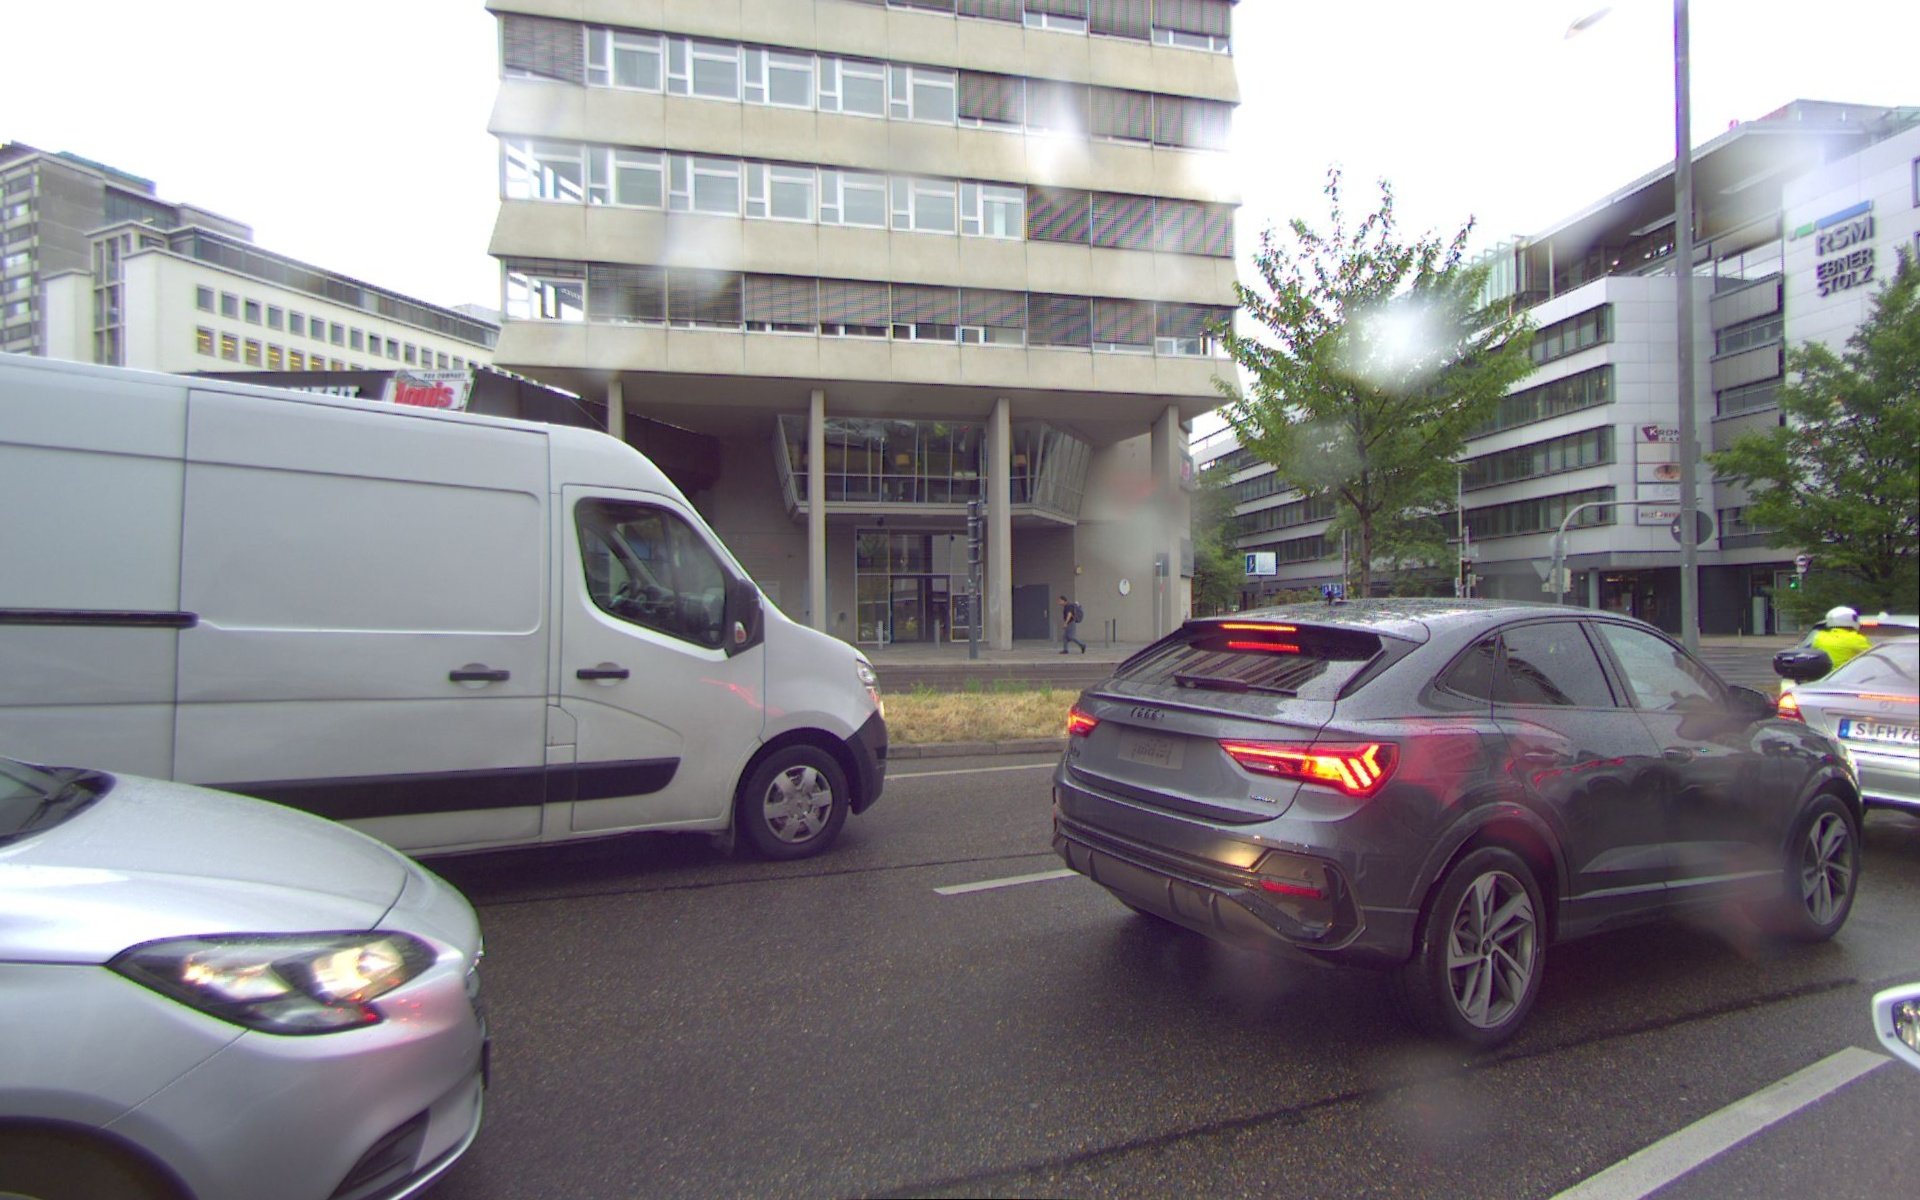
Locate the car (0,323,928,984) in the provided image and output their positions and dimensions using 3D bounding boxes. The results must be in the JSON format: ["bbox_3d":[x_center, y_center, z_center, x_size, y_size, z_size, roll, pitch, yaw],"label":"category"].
[{"bbox_3d":[-2.971,0.215,5.382,5.425,2.473,1.933,1,0,-35],"label":"car"}]

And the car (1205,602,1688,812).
[{"bbox_3d":[4.719,0.837,9.538,4.722,1.554,1.856,1,0,-31],"label":"car"}]

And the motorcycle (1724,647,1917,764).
[{"bbox_3d":[9.740,1.168,11.374,1.998,1.200,0.799,2,0,-21],"label":"motorcycle"}]

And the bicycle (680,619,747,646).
[{"bbox_3d":[-8.370,1.095,34.133,2.165,0.871,0.456,2,0,-31],"label":"bicycle"}]

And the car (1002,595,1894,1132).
[{"bbox_3d":[2.415,0.785,4.664,4.220,1.542,1.640,1,0,-30],"label":"car"}]

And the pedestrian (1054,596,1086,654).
[{"bbox_3d":[3.278,0.746,29.967,0.751,1.706,0.677,1,0,-16],"label":"pedestrian"}]

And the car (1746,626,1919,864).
[{"bbox_3d":[7.686,0.959,7.099,4.050,1.426,1.567,2,0,-23],"label":"car"}]

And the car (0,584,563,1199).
[{"bbox_3d":[-2.845,0.679,1.699,3.831,1.455,1.639,1,0,-32],"label":"car"}]

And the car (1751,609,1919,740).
[{"bbox_3d":[12.643,0.937,13.214,3.940,1.506,1.704,2,0,-21],"label":"car"}]

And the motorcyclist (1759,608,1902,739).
[{"bbox_3d":[9.825,0.805,11.347,1.101,1.398,0.769,2,0,-21],"label":"motorcyclist"}]
